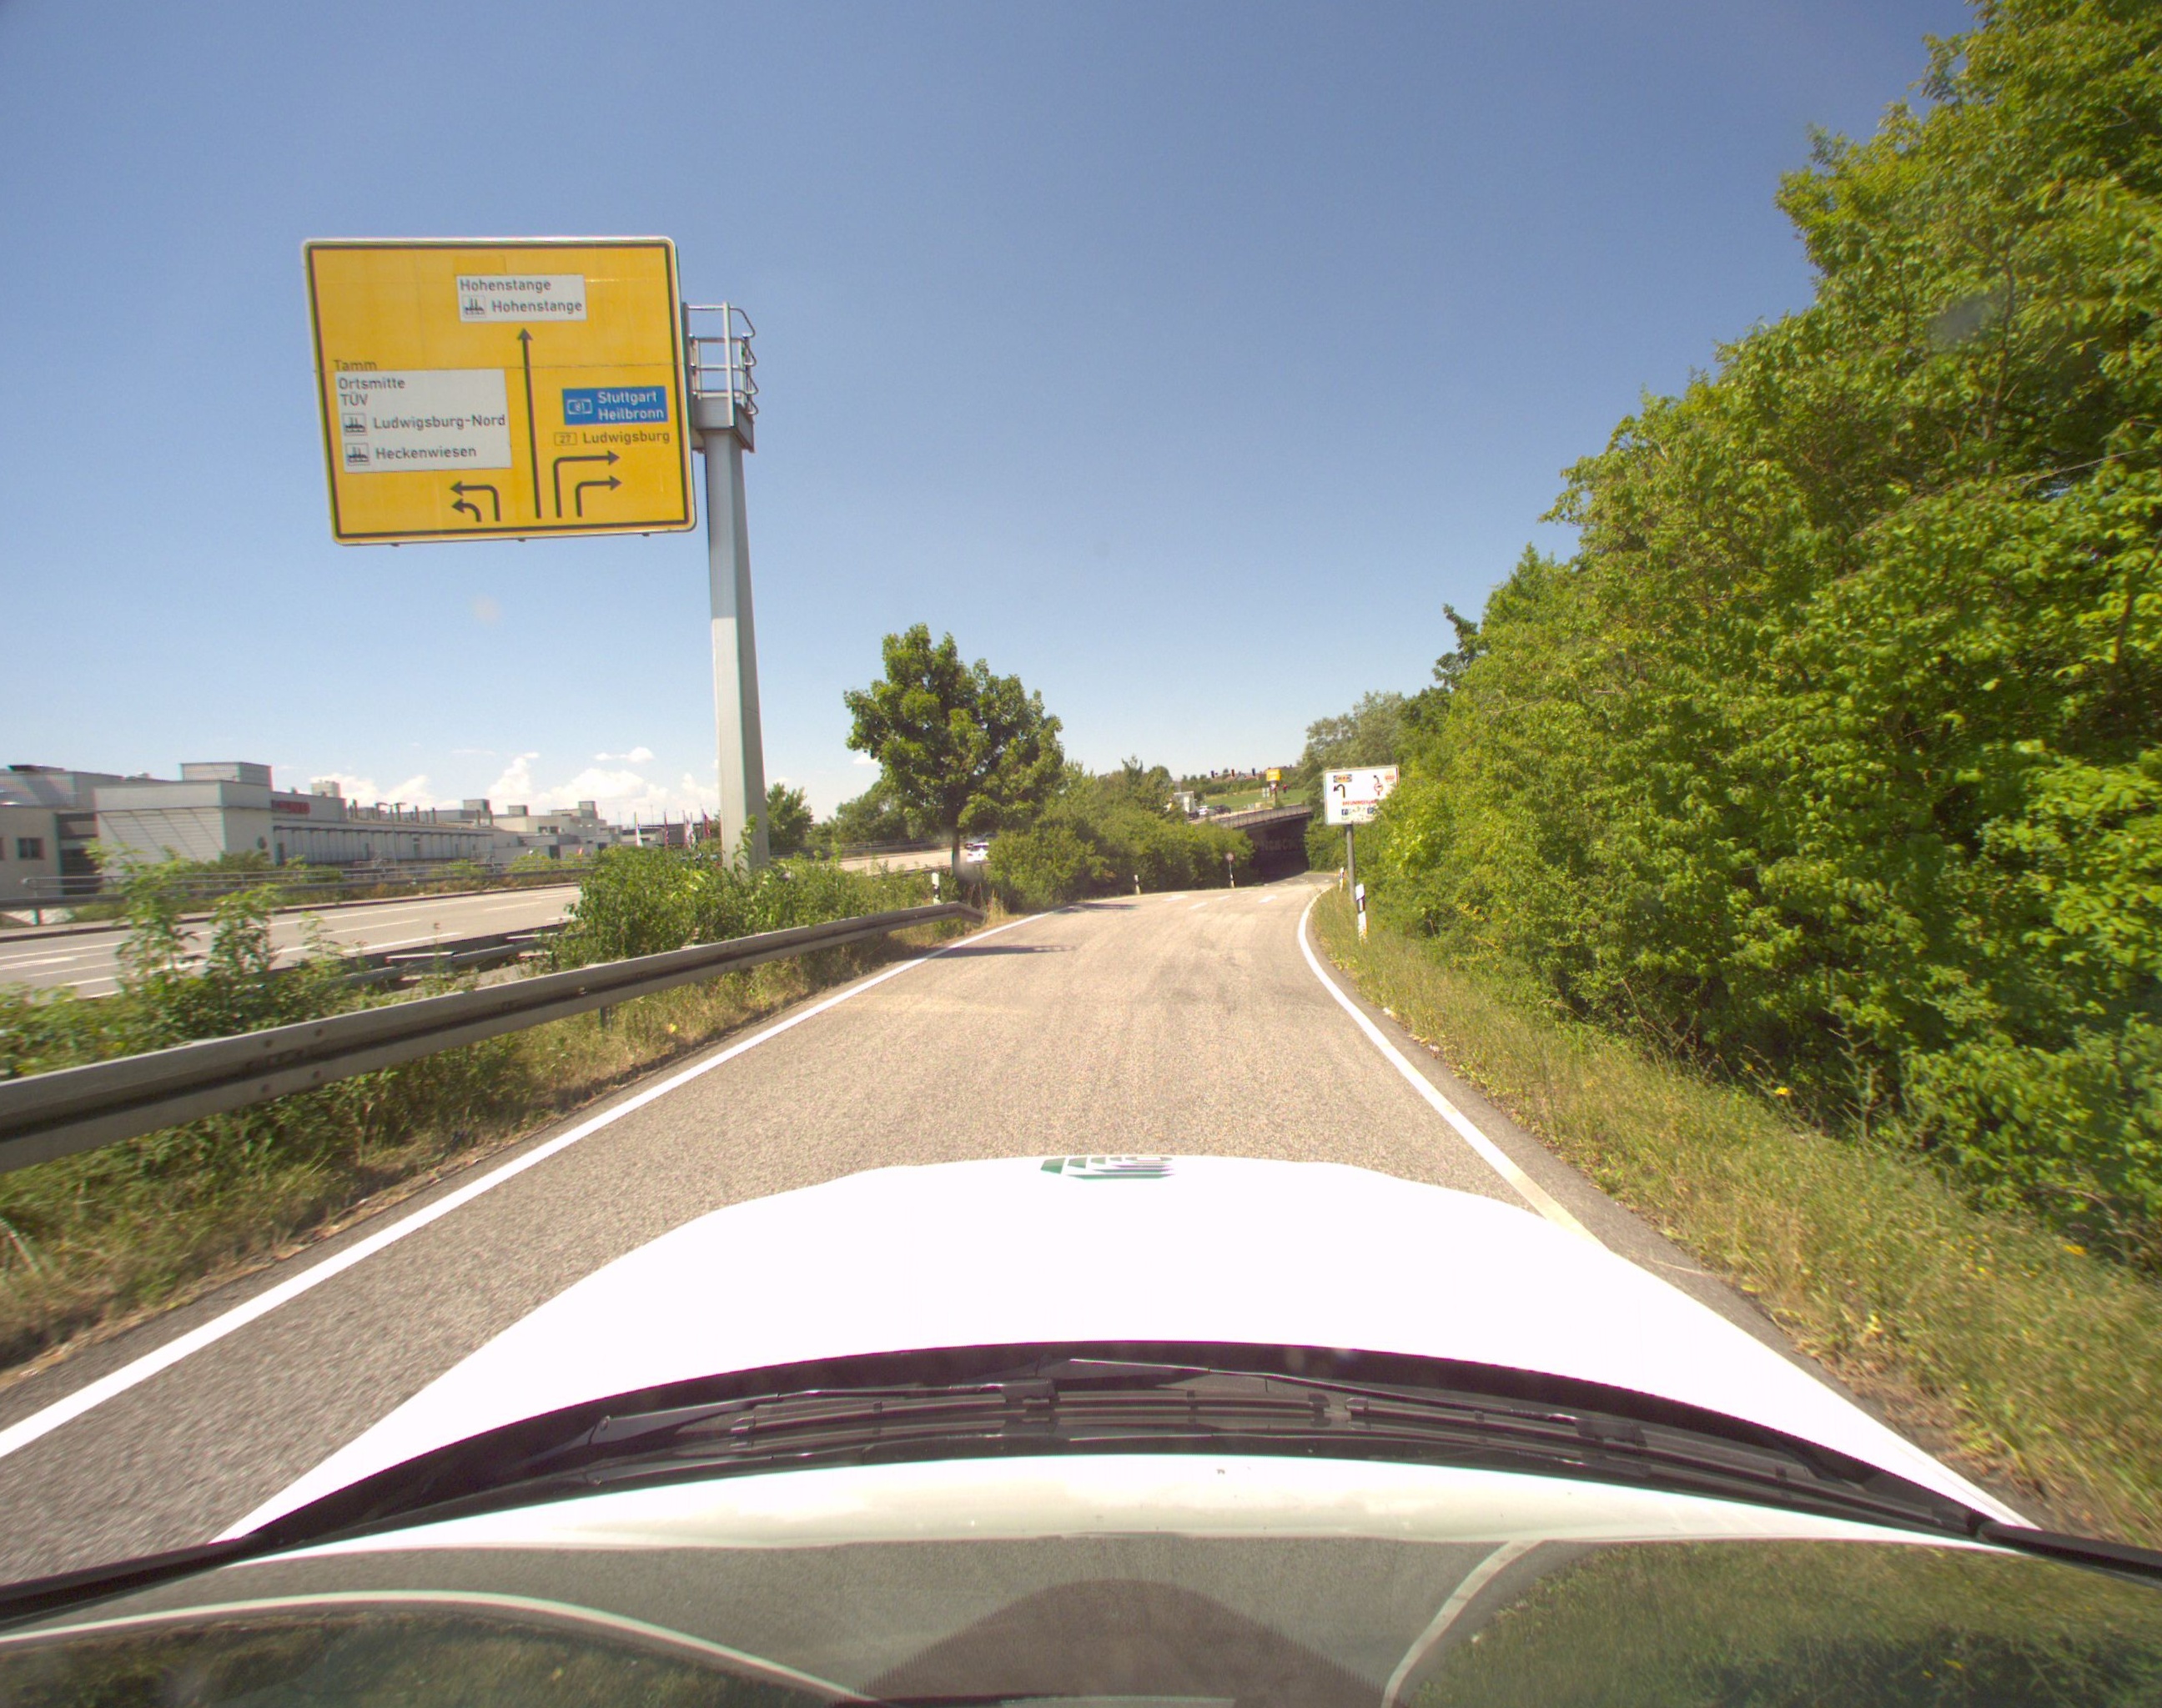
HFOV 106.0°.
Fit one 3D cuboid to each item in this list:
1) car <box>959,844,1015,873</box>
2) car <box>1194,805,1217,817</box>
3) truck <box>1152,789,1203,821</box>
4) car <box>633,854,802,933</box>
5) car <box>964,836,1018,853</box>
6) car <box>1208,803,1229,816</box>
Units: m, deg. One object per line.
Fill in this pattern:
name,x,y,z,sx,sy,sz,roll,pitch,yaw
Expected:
car,-5.188,0.231,45.369,1.982,1.486,4.146,-2,0,9
car,16.848,-5.805,110.258,1.879,1.363,4.024,-2,0,26
truck,12.514,-6.260,104.484,2.998,3.589,8.960,-4,1,29
car,-8.327,0.816,19.215,1.725,1.545,4.735,-3,0,1
car,-8.853,-0.929,80.681,2.131,1.442,5.875,-2,1,30
car,19.794,-6.348,116.844,1.976,1.618,4.023,-2,0,24
